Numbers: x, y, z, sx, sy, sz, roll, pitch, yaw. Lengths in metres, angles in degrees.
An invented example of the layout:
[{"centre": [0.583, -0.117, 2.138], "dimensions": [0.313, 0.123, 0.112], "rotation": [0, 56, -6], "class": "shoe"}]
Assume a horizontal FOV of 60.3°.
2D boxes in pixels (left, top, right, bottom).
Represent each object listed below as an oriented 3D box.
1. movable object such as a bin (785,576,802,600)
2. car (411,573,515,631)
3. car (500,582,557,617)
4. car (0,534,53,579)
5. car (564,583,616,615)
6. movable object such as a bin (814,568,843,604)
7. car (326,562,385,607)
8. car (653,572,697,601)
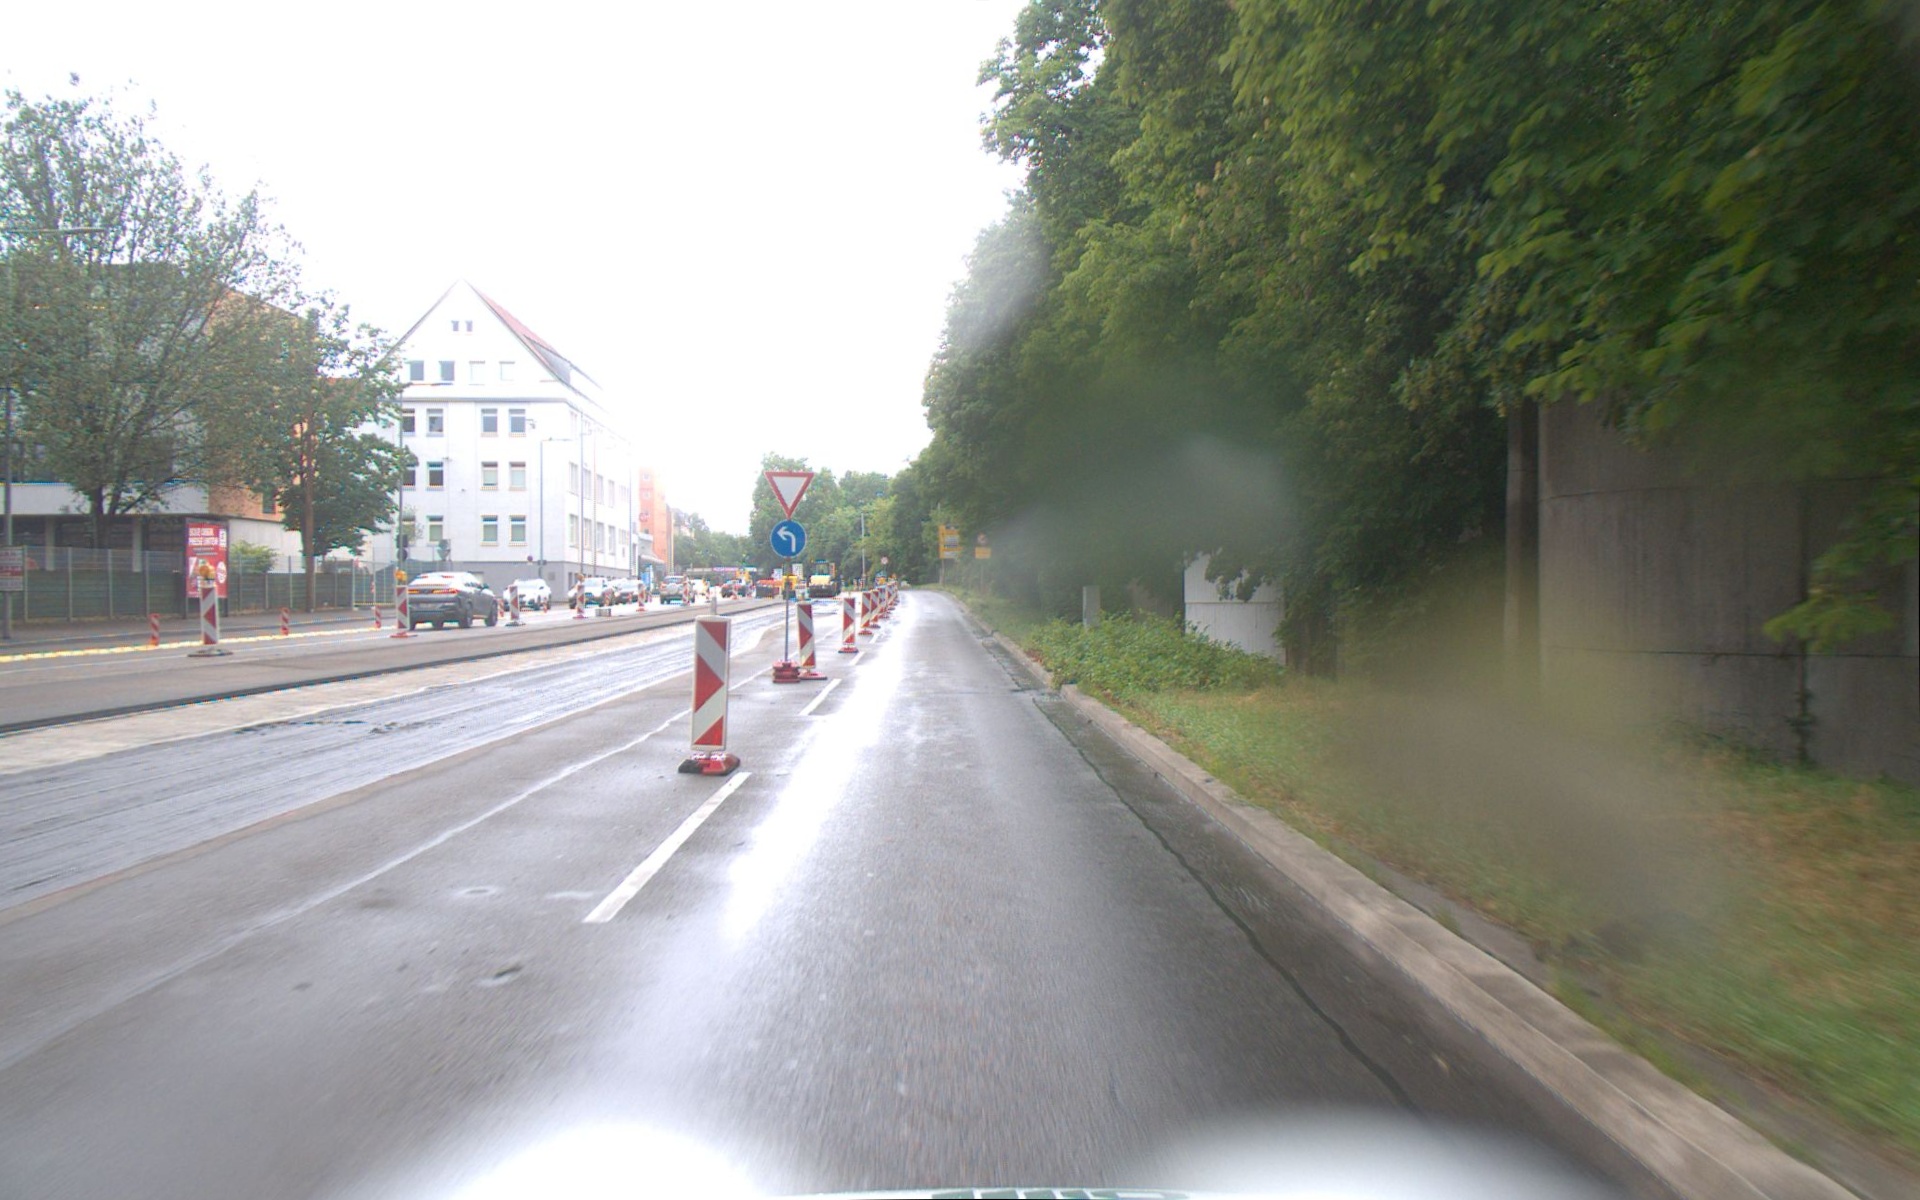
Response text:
[{"centre": [-11.891, -0.845, 118.143], "dimensions": [1.061, 1.673, 2.438], "rotation": [0, 1, -2], "class": "movable object such as a bin"}, {"centre": [-15.036, 0.036, 50.268], "dimensions": [1.854, 1.679, 4.395], "rotation": [0, 0, -1], "class": "car"}, {"centre": [-22.616, -0.052, 86.841], "dimensions": [1.821, 1.735, 4.364], "rotation": [-2, 0, -1], "class": "car"}, {"centre": [-34.221, -1.518, 58.826], "dimensions": [3.944, 1.554, 1.992], "rotation": [0, 1, 37], "class": "car"}, {"centre": [-20.027, -0.076, 89.680], "dimensions": [1.821, 1.647, 4.364], "rotation": [-2, 0, -1], "class": "car"}, {"centre": [-10.049, -1.068, 126.694], "dimensions": [1.864, 2.654, 5.381], "rotation": [-1, 1, -2], "class": "movable object such as a bin"}, {"centre": [-30.039, -0.776, 82.312], "dimensions": [1.577, 2.208, 3.998], "rotation": [0, 1, -2], "class": "car"}, {"centre": [-17.013, -0.794, 98.909], "dimensions": [1.854, 1.679, 4.395], "rotation": [0, 0, -1], "class": "car"}]
